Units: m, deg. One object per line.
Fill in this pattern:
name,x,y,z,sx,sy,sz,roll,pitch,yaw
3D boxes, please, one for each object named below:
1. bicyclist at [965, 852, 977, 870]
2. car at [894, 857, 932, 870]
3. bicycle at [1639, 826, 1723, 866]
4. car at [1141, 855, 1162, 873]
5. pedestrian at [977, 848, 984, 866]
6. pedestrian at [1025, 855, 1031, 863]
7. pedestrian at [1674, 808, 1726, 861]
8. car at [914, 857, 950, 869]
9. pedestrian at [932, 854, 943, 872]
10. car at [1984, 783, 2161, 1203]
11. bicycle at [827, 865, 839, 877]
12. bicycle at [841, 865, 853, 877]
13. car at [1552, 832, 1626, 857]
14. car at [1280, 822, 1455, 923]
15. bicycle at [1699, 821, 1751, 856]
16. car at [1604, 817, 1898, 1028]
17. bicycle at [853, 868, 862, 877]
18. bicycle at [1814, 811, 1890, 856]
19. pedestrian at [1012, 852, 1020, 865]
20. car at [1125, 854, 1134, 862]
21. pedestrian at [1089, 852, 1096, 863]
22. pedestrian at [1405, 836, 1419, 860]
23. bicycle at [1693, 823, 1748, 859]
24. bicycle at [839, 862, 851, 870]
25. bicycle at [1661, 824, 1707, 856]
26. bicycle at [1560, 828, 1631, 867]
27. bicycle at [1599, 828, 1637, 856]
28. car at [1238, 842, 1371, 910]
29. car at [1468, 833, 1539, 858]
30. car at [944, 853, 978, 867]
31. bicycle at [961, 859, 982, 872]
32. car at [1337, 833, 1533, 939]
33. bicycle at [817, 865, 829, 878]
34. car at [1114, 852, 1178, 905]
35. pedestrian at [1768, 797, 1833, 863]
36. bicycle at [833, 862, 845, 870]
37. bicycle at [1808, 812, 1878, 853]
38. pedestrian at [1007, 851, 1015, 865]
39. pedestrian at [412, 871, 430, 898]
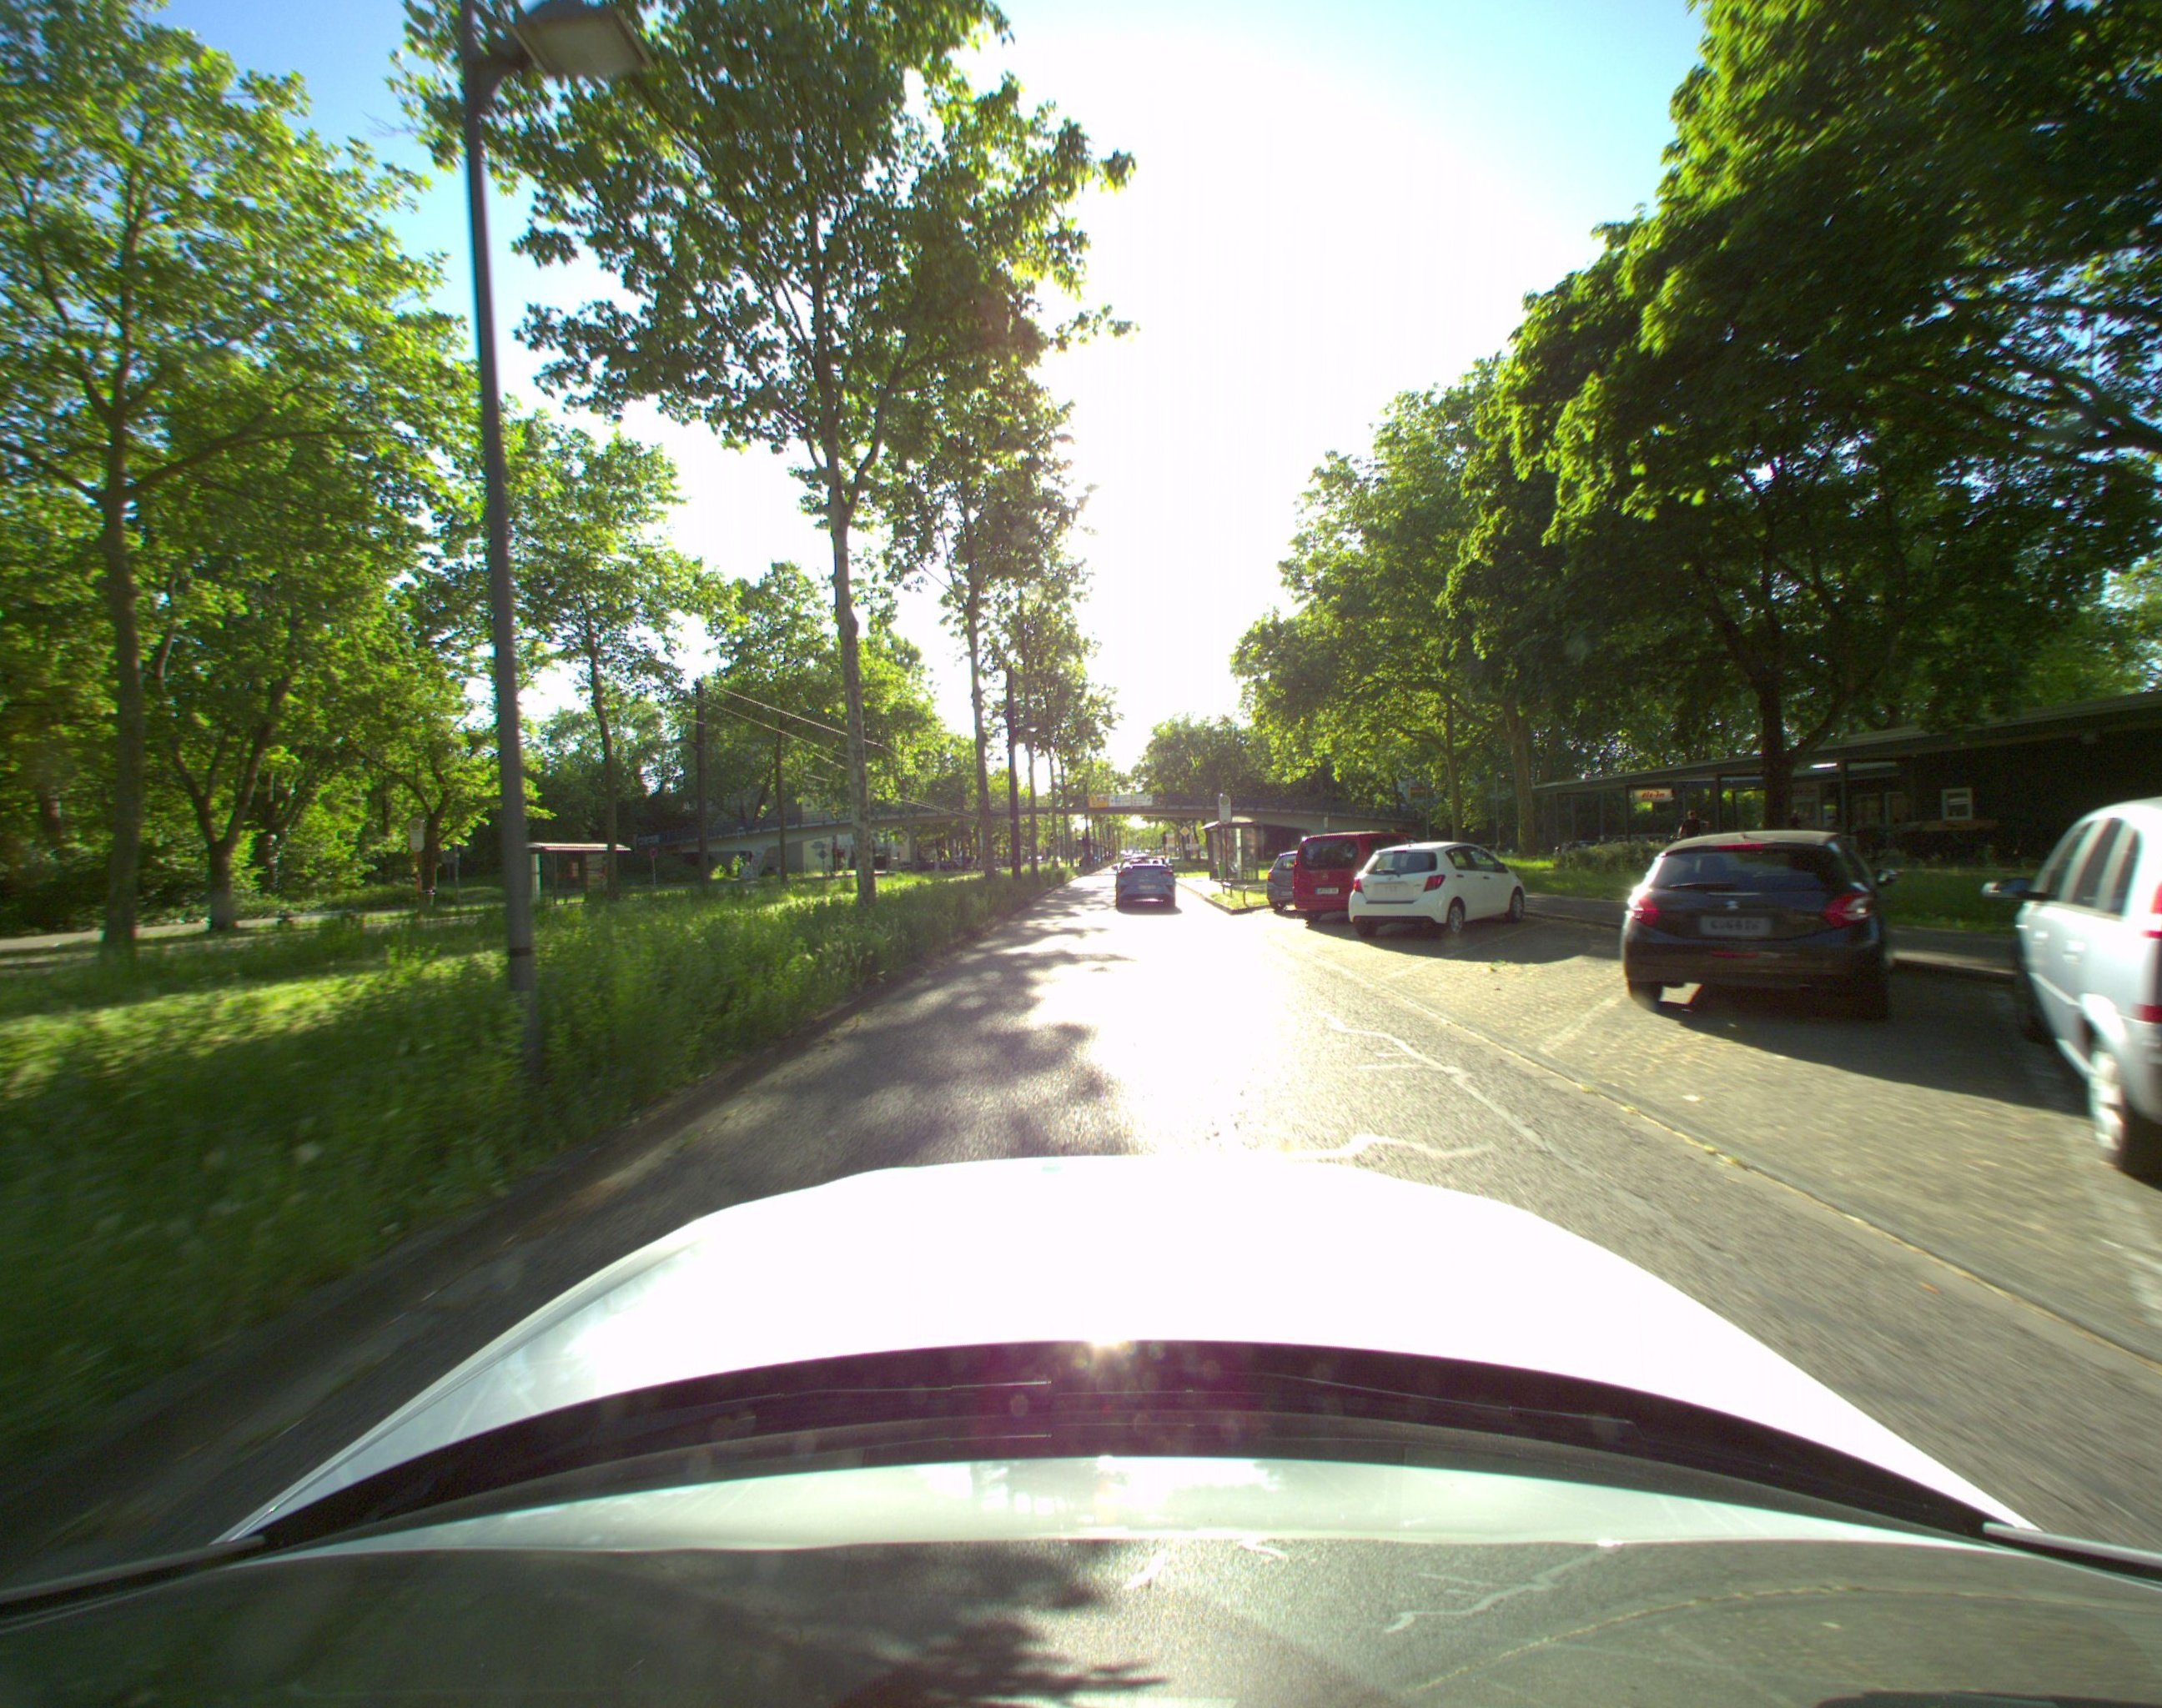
bicyclist,-9.879,0.630,73.261,0.951,1.632,0.814,0,1,-4
car,-19.963,1.067,96.810,4.218,1.428,1.682,-1,1,-35
bicycle,19.220,-0.238,26.111,2.050,1.158,0.564,-3,0,17
car,7.185,0.975,83.171,1.973,1.792,4.619,-1,0,4
pedestrian,-10.270,0.294,83.380,0.506,1.770,0.478,0,-1,-37
pedestrian,-7.767,0.803,119.786,0.691,1.127,0.663,-5,-1,4
pedestrian,20.609,-0.653,27.139,1.126,1.708,0.731,-2,0,-6
car,-18.904,1.099,103.390,4.218,1.428,1.682,-1,1,-35
pedestrian,-13.077,0.809,74.224,0.722,1.674,1.048,-1,-1,0
car,5.870,0.420,3.973,1.679,1.590,3.745,-4,0,45
bicycle,-21.810,1.518,71.545,0.432,1.009,1.688,-1,0,4
bicycle,-20.411,1.499,70.994,0.432,1.009,1.688,-1,0,4
car,32.970,-0.612,52.853,3.970,1.495,1.664,-2,2,-8
car,6.202,0.328,17.442,3.973,1.842,1.747,-3,0,-42
bicycle,24.138,-0.562,30.551,0.573,1.253,1.807,-1,0,2
car,6.468,0.462,7.710,3.767,1.458,1.662,-3,0,-44
bicycle,-19.294,1.611,70.323,0.432,0.778,1.175,-1,0,4
bicycle,22.678,-0.584,23.992,0.573,1.253,1.807,-1,0,2
pedestrian,-7.732,0.488,97.134,0.678,1.514,0.646,-3,0,10
car,9.544,0.782,161.387,1.703,1.603,3.352,-1,0,3
pedestrian,1.251,0.389,90.713,0.732,1.252,0.587,0,-1,-2
pedestrian,25.380,-0.487,62.439,0.657,1.777,0.738,-2,1,-6
bicycle,22.675,-0.442,28.909,0.573,1.253,1.807,-1,0,2
bicycle,-30.374,1.491,104.927,0.693,0.928,2.596,-1,1,0
bicycle,24.136,-0.550,32.629,0.573,1.253,1.807,-1,0,2
bicycle,17.143,-0.209,27.151,2.065,1.158,0.560,-3,0,-8
bicycle,24.129,-0.527,36.629,0.573,1.253,1.807,-1,0,2
car,5.904,0.539,21.300,3.851,1.472,1.500,-3,0,-43
car,27.202,-0.553,52.557,3.716,1.495,1.710,-1,2,0
car,-17.557,0.860,119.286,4.519,2.063,1.880,-1,1,-35
bicycle,-9.864,1.070,73.289,1.827,1.147,0.814,0,1,-4
car,6.203,0.481,14.095,3.647,1.495,1.662,-3,0,-42
bicycle,-22.289,1.517,70.433,0.432,1.009,1.688,-1,0,4
car,1.935,0.701,25.193,1.769,1.483,4.102,0,0,2
pedestrian,20.949,-0.677,23.730,0.963,1.840,0.951,-2,0,-6
bicycle,-31.208,1.501,104.974,0.693,0.928,2.596,-1,1,0
bicycle,24.322,-0.668,26.027,0.573,1.253,1.807,-1,0,2
pedestrian,-8.484,0.461,98.236,0.708,1.634,0.734,-3,-1,12
pedestrian,-37.102,1.732,45.794,0.532,1.491,0.586,-1,-1,-3
